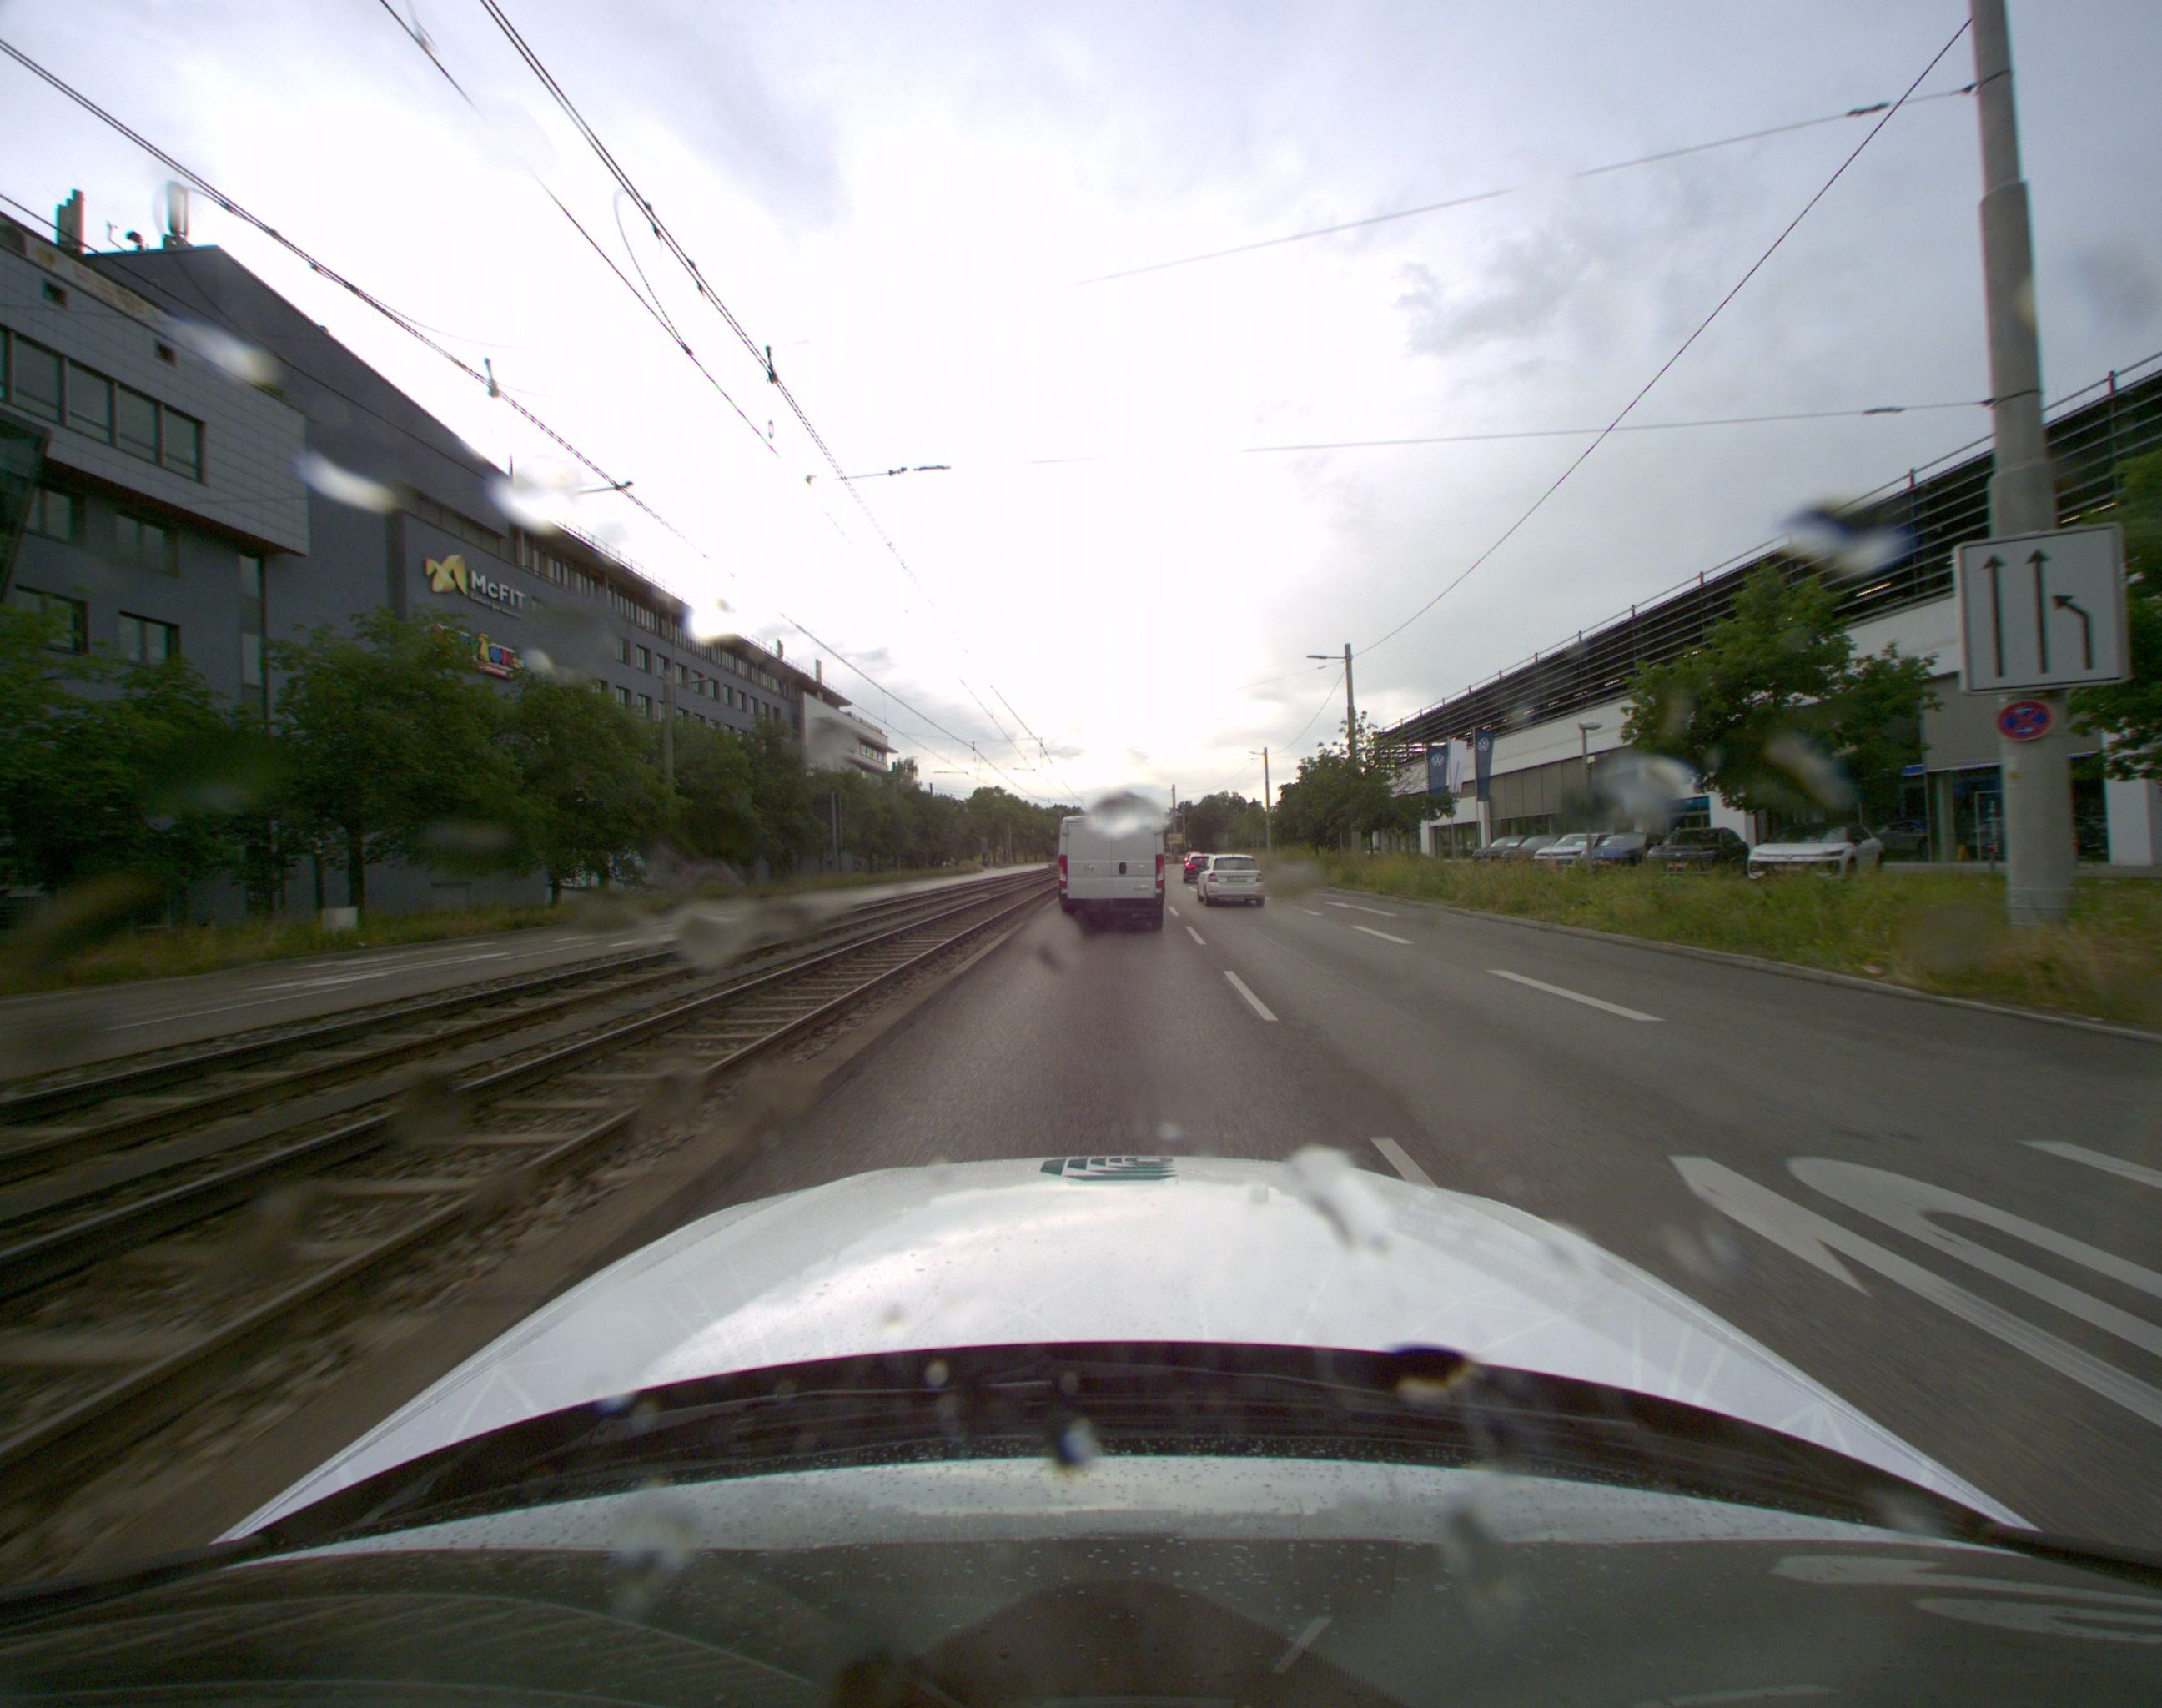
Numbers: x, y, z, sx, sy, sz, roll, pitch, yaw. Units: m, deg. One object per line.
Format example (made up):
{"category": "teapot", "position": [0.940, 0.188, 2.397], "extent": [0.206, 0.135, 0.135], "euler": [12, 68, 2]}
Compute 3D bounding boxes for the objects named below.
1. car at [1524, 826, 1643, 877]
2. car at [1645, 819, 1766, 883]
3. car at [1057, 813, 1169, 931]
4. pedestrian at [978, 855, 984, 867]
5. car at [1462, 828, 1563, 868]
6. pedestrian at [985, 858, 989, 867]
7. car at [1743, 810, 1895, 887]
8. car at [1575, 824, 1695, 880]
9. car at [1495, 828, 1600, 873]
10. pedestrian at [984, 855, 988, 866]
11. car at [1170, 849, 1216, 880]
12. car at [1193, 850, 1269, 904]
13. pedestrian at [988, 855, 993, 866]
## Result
{"category": "car", "position": [19.166, -0.112, 31.009], "extent": [4.366, 1.626, 1.839], "euler": [-4, -1, -28]}
{"category": "car", "position": [18.263, -0.110, 23.751], "extent": [4.211, 1.568, 1.778], "euler": [-3, -1, -39]}
{"category": "car", "position": [0.674, 0.318, 17.706], "extent": [2.083, 2.196, 5.063], "euler": [0, 0, 2]}
{"category": "pedestrian", "position": [-16.667, 1.118, 135.488], "extent": [0.884, 2.013, 0.865], "euler": [-2, 0, -2]}
{"category": "car", "position": [20.251, -0.291, 38.181], "extent": [4.638, 1.568, 1.835], "euler": [-4, -1, -28]}
{"category": "pedestrian", "position": [-15.679, 1.354, 135.500], "extent": [0.493, 1.473, 0.723], "euler": [0, 0, 5]}
{"category": "car", "position": [17.925, -0.152, 19.728], "extent": [4.117, 1.568, 1.780], "euler": [-3, -1, -35]}
{"category": "car", "position": [18.642, -0.087, 27.375], "extent": [4.206, 1.568, 1.780], "euler": [-3, -1, -33]}
{"category": "car", "position": [19.589, -0.158, 34.160], "extent": [4.388, 1.568, 1.782], "euler": [-3, -1, -30]}
{"category": "pedestrian", "position": [-15.607, 1.070, 134.076], "extent": [0.493, 1.955, 0.723], "euler": [0, 0, 7]}
{"category": "car", "position": [5.511, 0.503, 40.561], "extent": [1.783, 1.449, 4.000], "euler": [-1, 0, 0]}
{"category": "car", "position": [4.344, 0.627, 24.029], "extent": [1.739, 1.457, 3.673], "euler": [0, 0, 3]}
{"category": "pedestrian", "position": [-14.863, 0.993, 133.802], "extent": [0.503, 1.787, 0.834], "euler": [0, 0, 8]}
